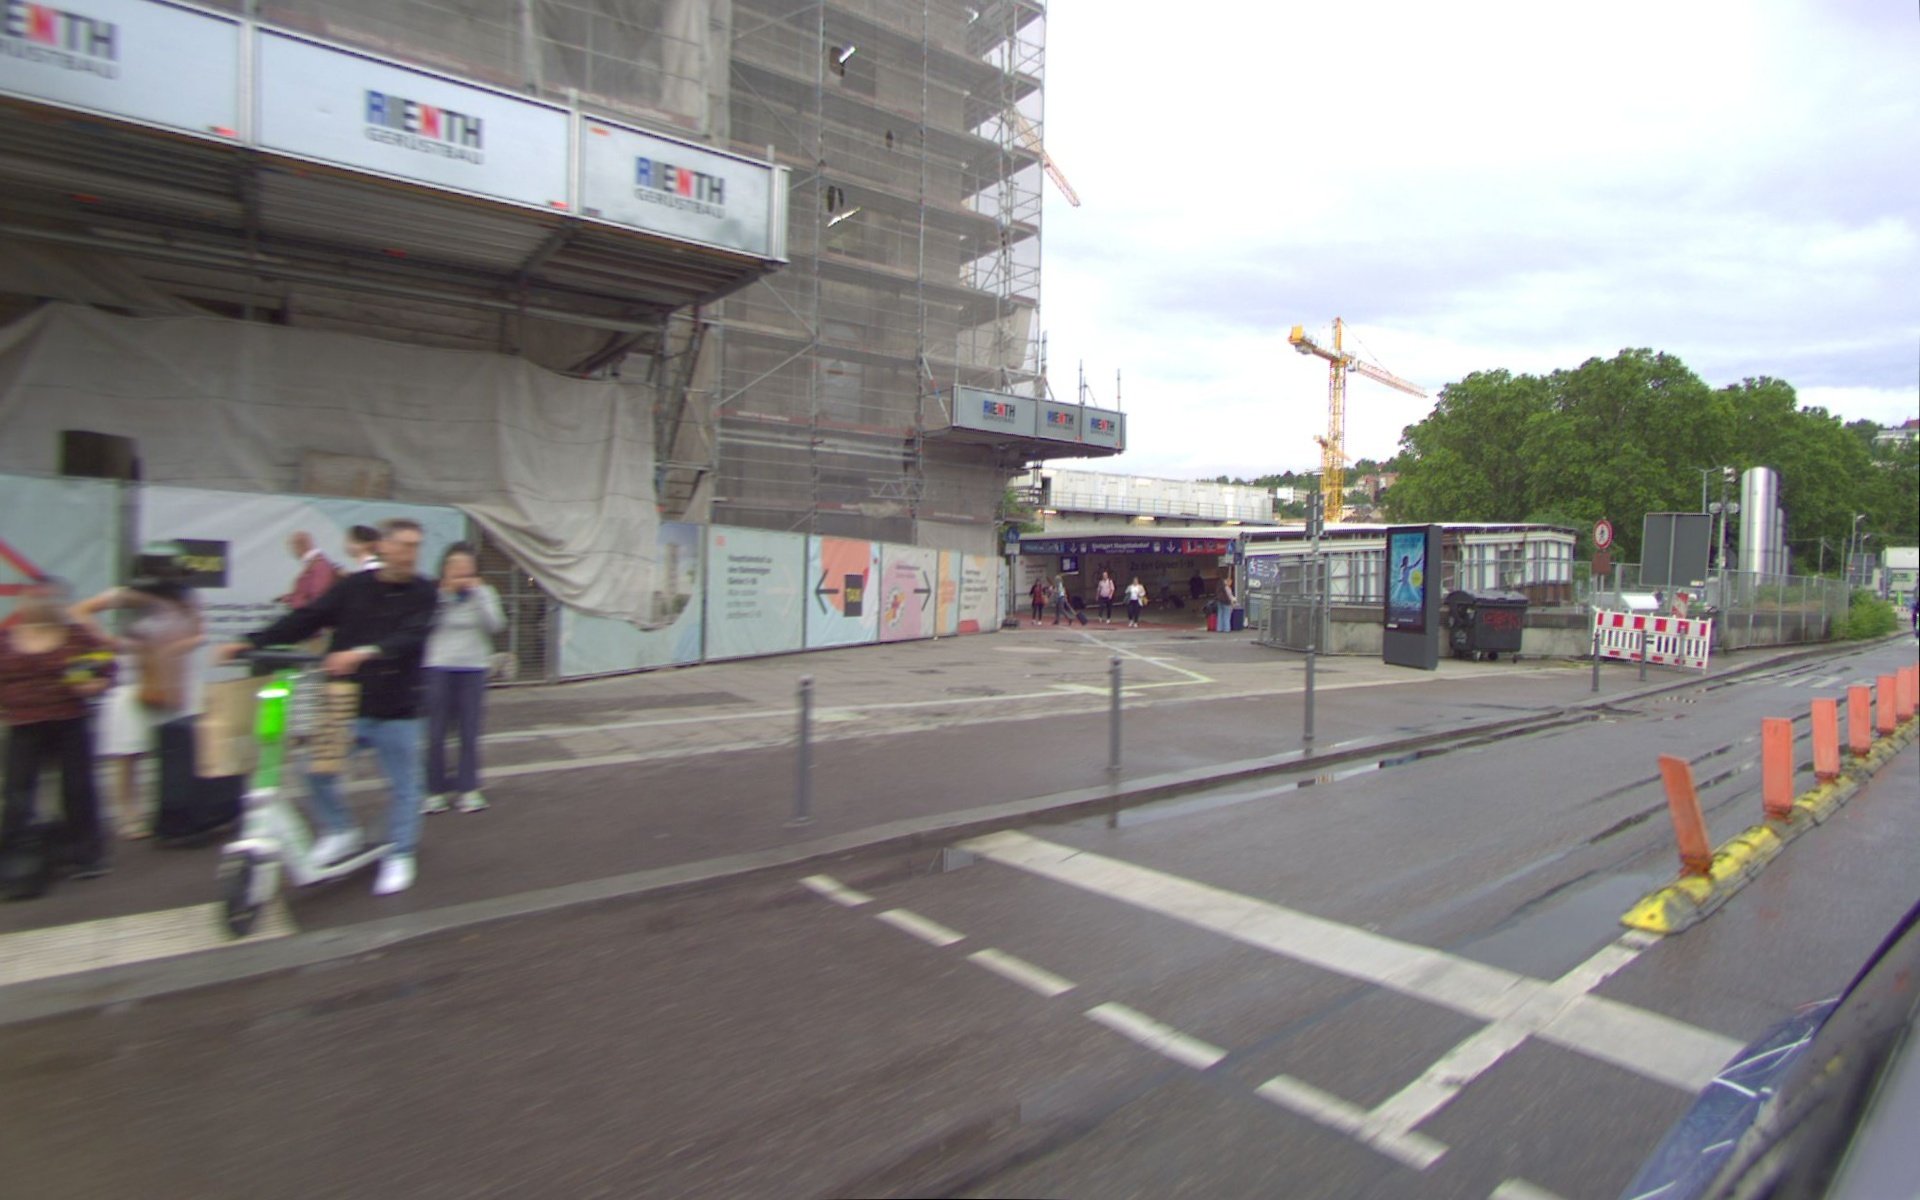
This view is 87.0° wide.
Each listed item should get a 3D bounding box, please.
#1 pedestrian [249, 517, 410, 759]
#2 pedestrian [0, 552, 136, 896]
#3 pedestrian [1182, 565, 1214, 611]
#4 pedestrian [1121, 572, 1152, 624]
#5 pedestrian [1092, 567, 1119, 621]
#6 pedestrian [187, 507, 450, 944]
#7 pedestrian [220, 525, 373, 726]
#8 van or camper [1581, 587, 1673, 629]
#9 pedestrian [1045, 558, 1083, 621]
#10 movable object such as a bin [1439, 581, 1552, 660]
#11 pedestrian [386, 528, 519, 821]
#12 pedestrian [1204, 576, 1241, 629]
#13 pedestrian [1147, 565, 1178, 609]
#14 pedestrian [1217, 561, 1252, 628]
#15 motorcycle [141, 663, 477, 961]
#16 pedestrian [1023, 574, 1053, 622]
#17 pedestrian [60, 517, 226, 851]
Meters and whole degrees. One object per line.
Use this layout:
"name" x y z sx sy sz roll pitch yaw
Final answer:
"pedestrian" -4.812 0.254 7.718 0.940 1.698 0.738 1 3 -38
"pedestrian" -4.259 0.534 4.630 0.698 1.466 0.560 1 3 -36
"pedestrian" 9.655 -0.477 41.106 0.756 1.816 0.951 1 1 -40
"pedestrian" 5.922 -0.076 33.946 0.901 1.666 0.699 2 1 14
"pedestrian" 5.282 -0.234 36.748 0.849 1.899 0.639 2 1 14
"pedestrian" -2.839 0.497 4.548 0.572 1.762 0.819 2 1 10
"pedestrian" -5.996 0.210 9.167 1.088 1.703 0.735 1 1 -35
"van or camper" 43.221 0.444 65.813 2.345 2.431 6.054 3 1 6
"pedestrian" 3.448 -0.356 33.563 0.916 2.038 0.765 1 2 -40
"movable object such as a bin" 11.000 0.403 20.843 1.502 1.510 1.305 2 1 -8
"pedestrian" -3.116 0.420 6.199 0.603 1.670 0.560 1 3 -36
"pedestrian" 8.023 0.072 30.945 0.698 1.613 0.855 0 -1 -44
"pedestrian" 8.555 -0.550 42.756 0.756 1.816 0.951 1 1 -40
"pedestrian" 8.548 -0.162 31.528 0.753 2.039 0.804 0 -1 -45
"motorcycle" -2.847 0.859 4.566 0.577 1.034 1.236 2 1 10
"pedestrian" 2.553 -0.066 32.987 0.630 1.525 0.702 1 1 -38
"pedestrian" -4.367 0.410 5.447 0.602 1.670 0.567 2 3 -32
